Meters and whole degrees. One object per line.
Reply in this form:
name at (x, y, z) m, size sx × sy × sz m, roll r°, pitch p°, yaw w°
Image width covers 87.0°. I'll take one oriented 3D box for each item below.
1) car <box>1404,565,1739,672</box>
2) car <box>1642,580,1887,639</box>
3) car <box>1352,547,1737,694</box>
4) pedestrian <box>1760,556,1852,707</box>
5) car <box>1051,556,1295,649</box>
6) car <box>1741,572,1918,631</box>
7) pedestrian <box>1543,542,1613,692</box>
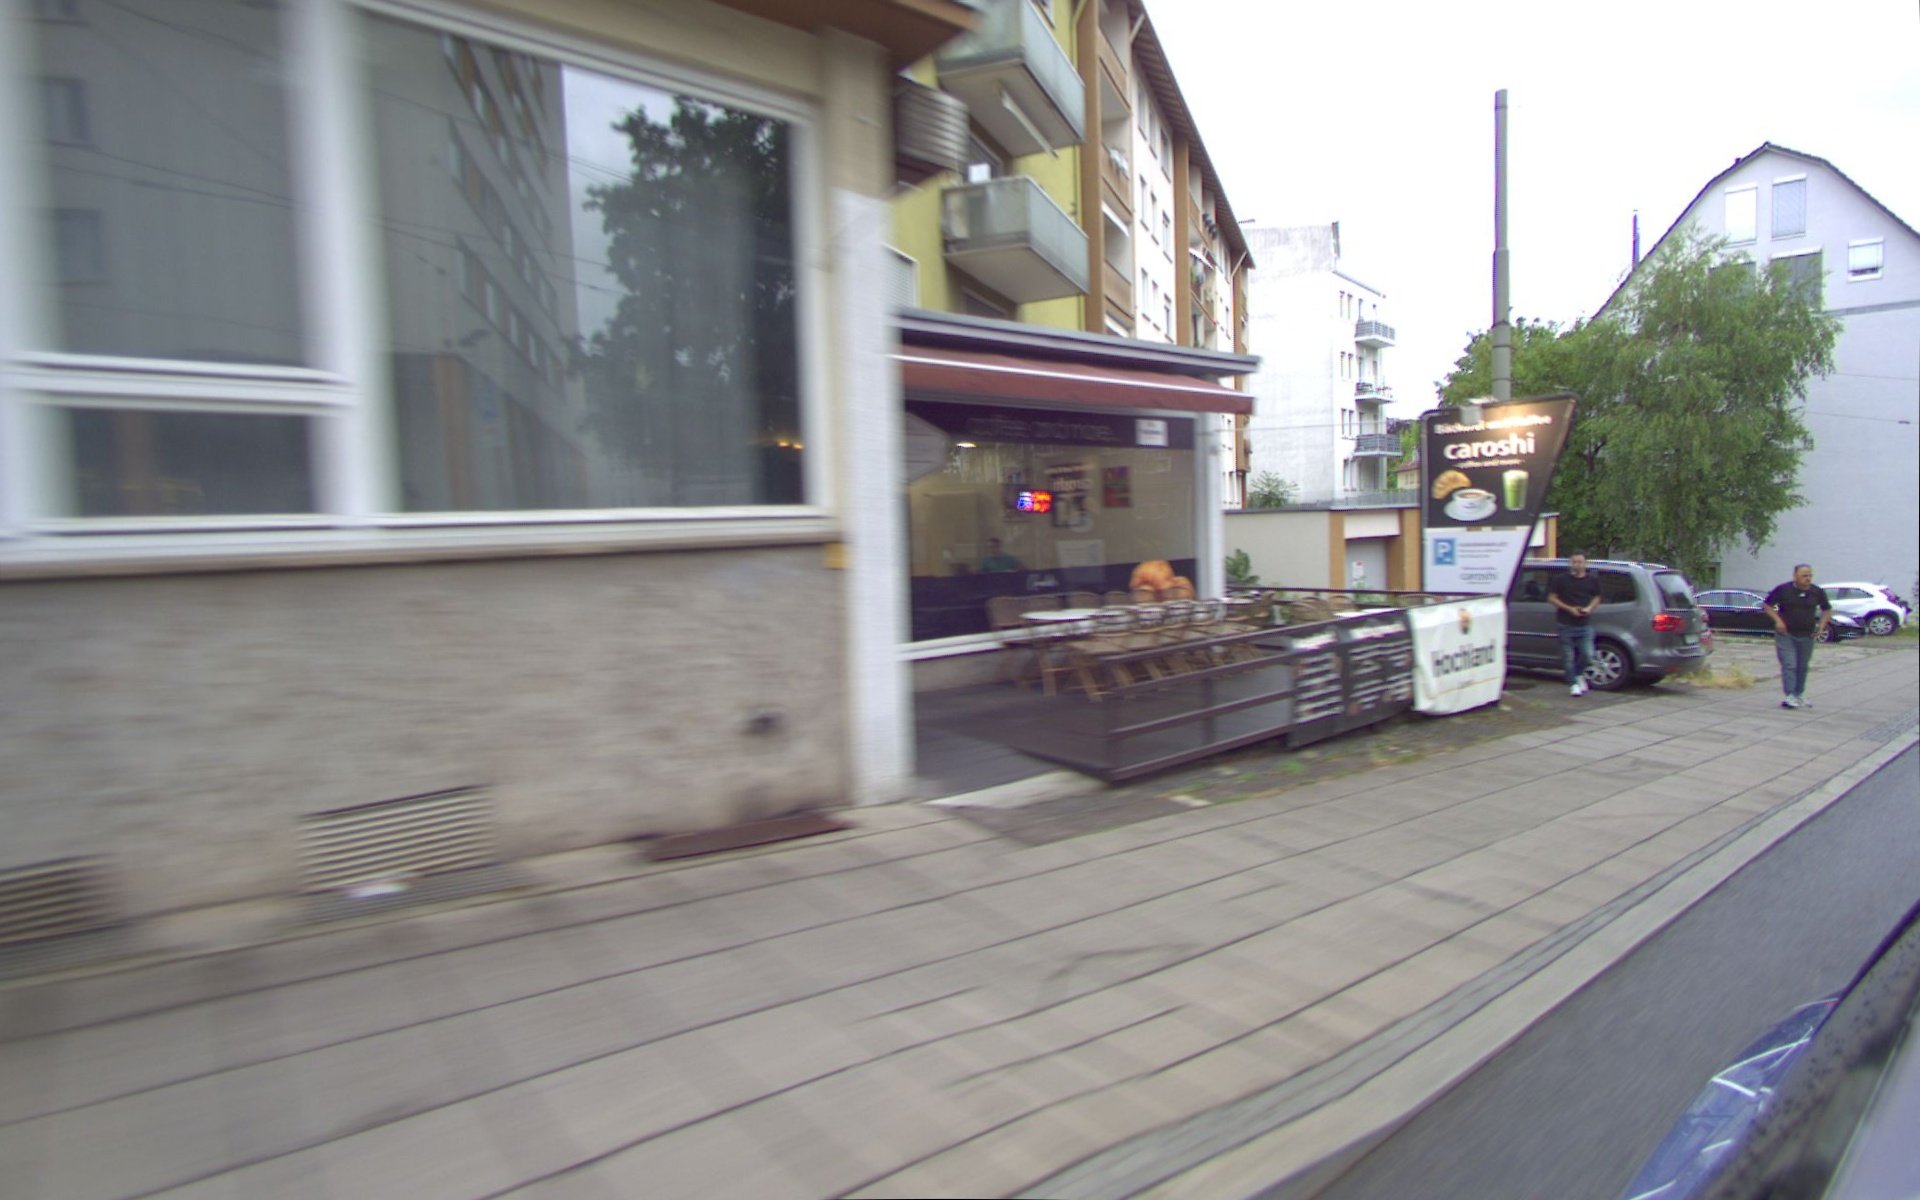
car at (10.313, 0.206, 17.404) m, size 1.734 × 1.455 × 4.580 m, roll -1°, pitch 3°, yaw -40°
car at (21.832, 0.211, 27.664) m, size 1.939 × 1.454 × 4.942 m, roll -2°, pitch 1°, yaw -39°
car at (8.064, 0.169, 14.350) m, size 1.748 × 1.694 × 4.341 m, roll 1°, pitch 2°, yaw -38°
pedestrian at (10.220, 0.355, 12.231) m, size 0.719 × 1.735 × 0.599 m, roll 5°, pitch 3°, yaw 44°
car at (3.917, -0.053, 19.344) m, size 1.749 × 1.417 × 4.526 m, roll -4°, pitch 6°, yaw -38°
car at (26.600, -0.006, 31.045) m, size 1.789 × 1.483 × 3.990 m, roll -8°, pitch 8°, yaw -44°
pedestrian at (7.403, 0.193, 12.119) m, size 0.604 × 1.735 × 0.579 m, roll 0°, pitch 0°, yaw -44°
